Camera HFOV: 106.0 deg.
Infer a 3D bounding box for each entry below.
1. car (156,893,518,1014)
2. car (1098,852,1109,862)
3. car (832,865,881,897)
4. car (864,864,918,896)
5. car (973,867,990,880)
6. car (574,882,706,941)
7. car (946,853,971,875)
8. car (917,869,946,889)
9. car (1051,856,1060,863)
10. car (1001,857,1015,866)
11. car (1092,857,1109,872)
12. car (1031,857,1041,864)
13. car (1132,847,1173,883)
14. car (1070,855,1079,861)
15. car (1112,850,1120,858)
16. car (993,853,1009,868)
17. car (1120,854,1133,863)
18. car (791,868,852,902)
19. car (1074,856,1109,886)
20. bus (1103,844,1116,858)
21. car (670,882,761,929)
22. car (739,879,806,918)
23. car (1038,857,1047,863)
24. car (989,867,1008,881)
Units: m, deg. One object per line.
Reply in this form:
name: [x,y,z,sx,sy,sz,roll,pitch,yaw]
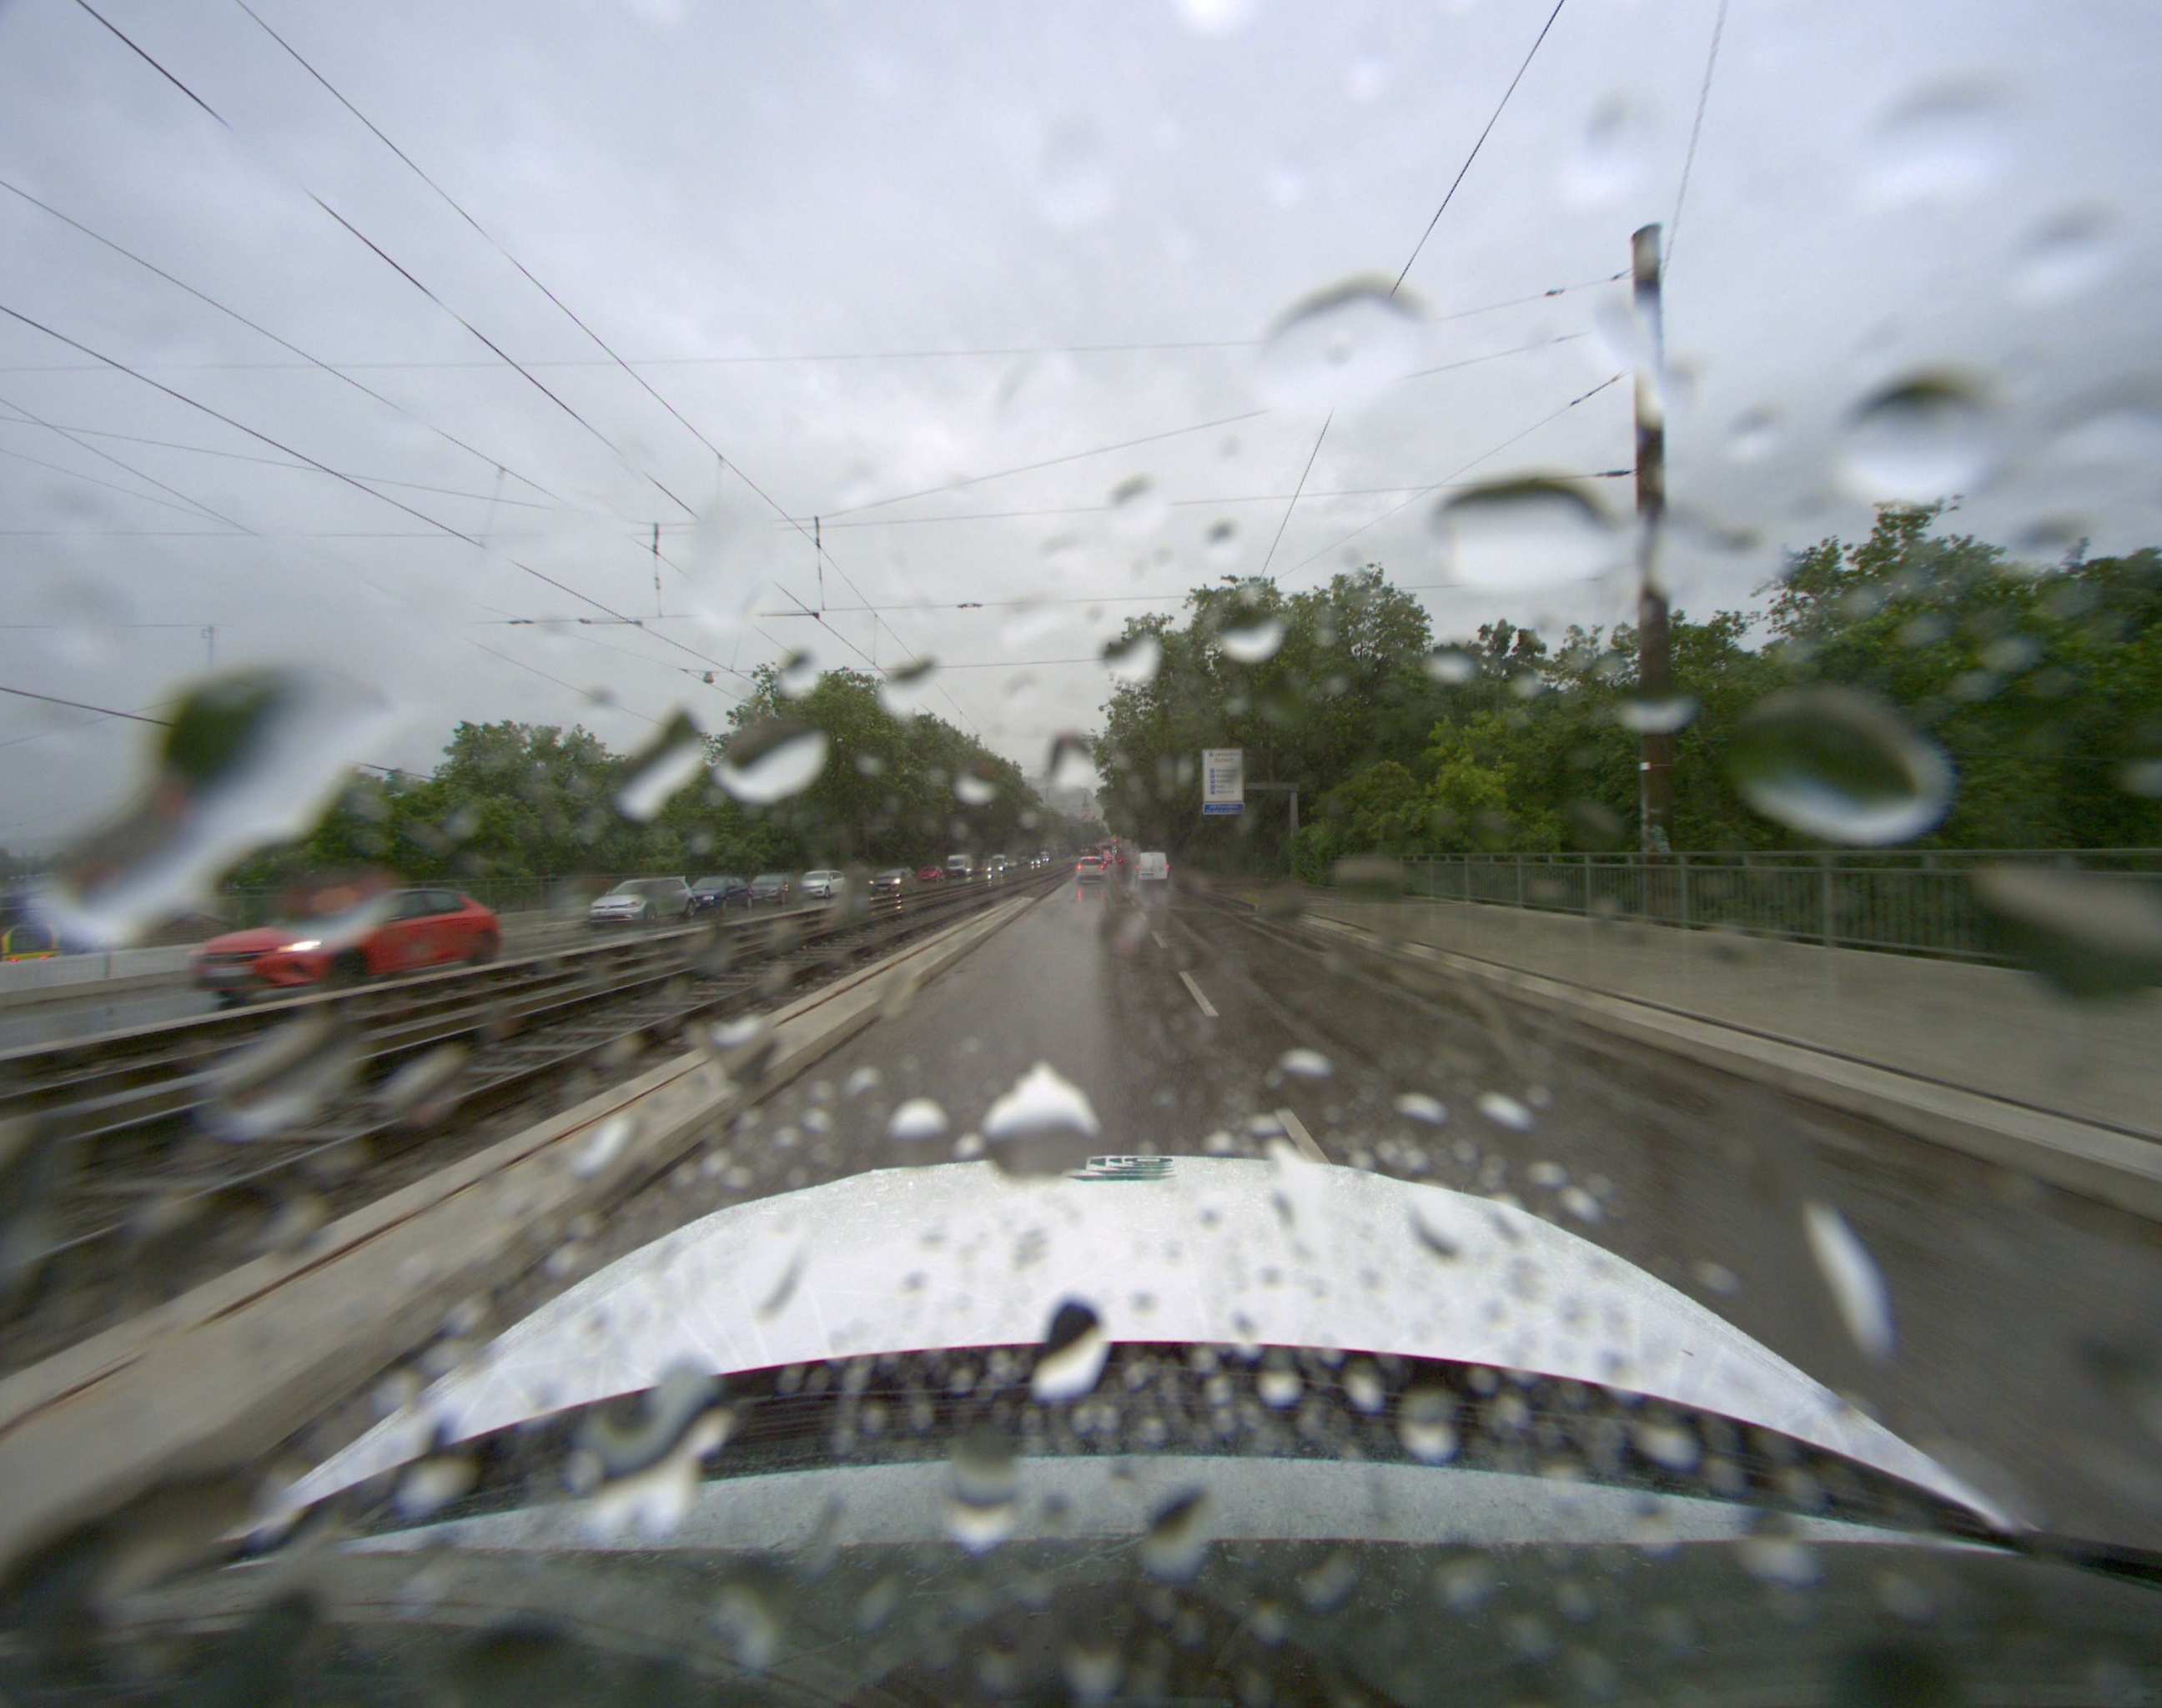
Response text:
car: [-11.137,1.403,12.690,1.792,1.315,4.085,0,1,2]
car: [4.387,0.555,156.600,1.985,1.826,4.004,0,1,3]
car: [-13.548,1.585,49.454,1.501,1.671,4.833,-4,1,0]
car: [-10.366,1.383,44.693,1.809,1.368,4.268,0,4,2]
car: [-12.596,2.433,103.435,1.500,1.350,4.028,-4,1,1]
car: [-14.276,1.811,26.706,1.857,1.455,4.320,-4,1,0]
car: [-13.185,1.049,87.930,1.735,2.169,5.814,-4,1,0]
car: [-13.230,2.180,72.245,1.604,1.442,4.263,-4,1,1]
car: [-5.957,1.249,188.880,1.799,1.350,4.264,-4,1,1]
car: [-12.560,1.259,140.022,1.798,1.350,4.265,-4,1,1]
car: [2.596,1.349,106.909,1.985,1.826,4.004,0,1,3]
car: [-9.496,1.368,172.262,1.798,1.350,4.265,-4,1,1]
car: [3.643,0.535,42.038,1.985,1.726,4.004,0,1,3]
car: [-1.677,0.935,204.807,1.795,1.350,4.272,-4,1,7]
car: [8.525,-0.029,198.739,1.985,1.826,4.004,0,1,3]
car: [-12.274,0.989,125.610,1.794,2.221,4.278,-4,1,1]
car: [7.206,0.751,129.686,1.985,1.321,4.004,0,1,3]
car: [-13.710,1.605,43.355,1.501,1.400,4.894,-7,1,0]
car: [0.700,1.013,50.814,1.985,1.717,4.004,0,1,3]
bus: [8.153,-0.763,229.188,3.375,3.836,9.748,0,1,3]
car: [-14.034,1.938,31.533,1.501,1.401,4.281,-4,1,0]
car: [-13.955,1.986,37.086,1.502,1.401,4.403,-4,1,-3]
car: [-9.358,1.522,198.078,1.798,1.350,4.265,-4,1,1]
car: [-9.903,2.334,97.964,1.500,1.401,4.710,-4,1,2]
